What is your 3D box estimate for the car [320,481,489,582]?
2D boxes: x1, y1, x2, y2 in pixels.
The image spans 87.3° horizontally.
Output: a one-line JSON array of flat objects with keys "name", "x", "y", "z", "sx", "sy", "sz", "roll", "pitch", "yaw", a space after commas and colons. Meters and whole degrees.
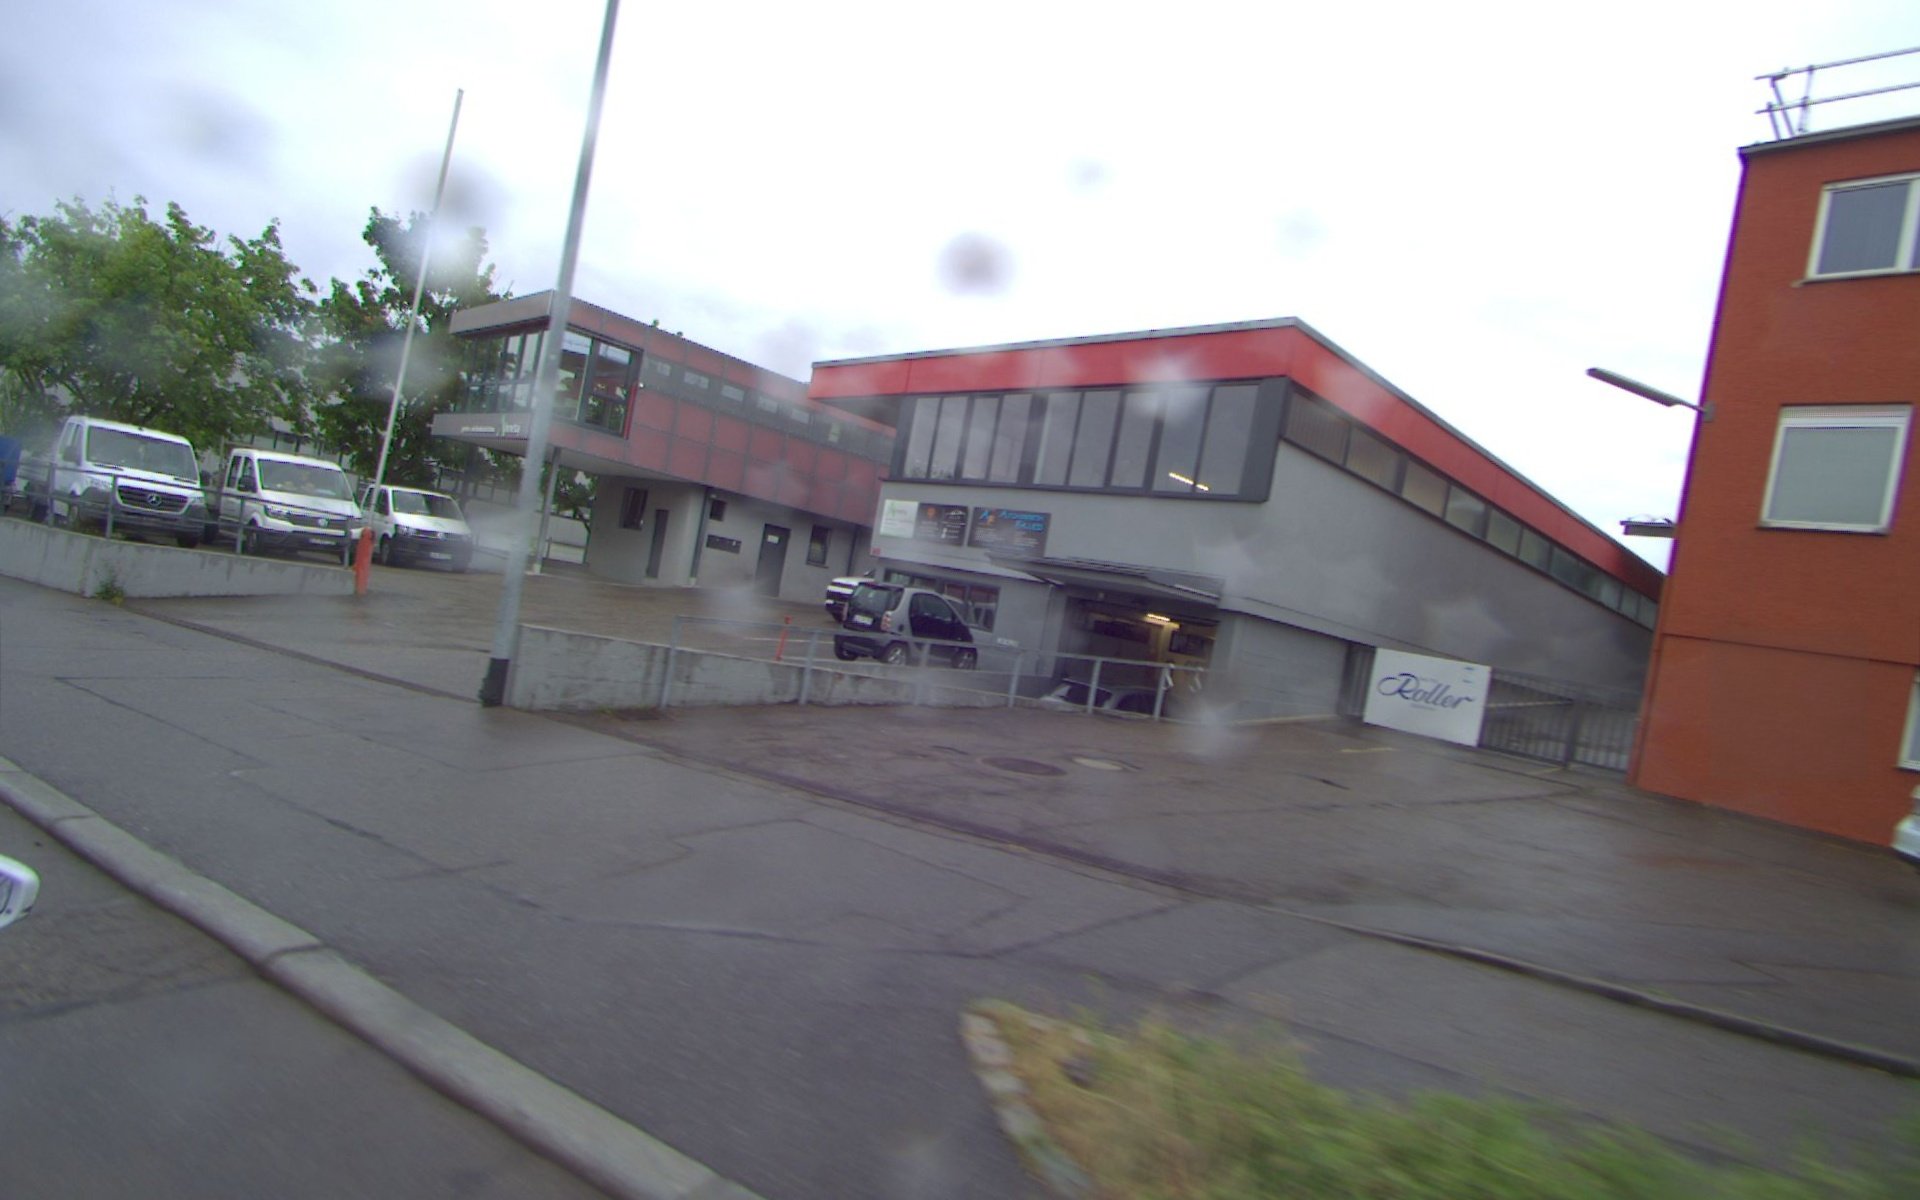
[{"name": "car", "x": -14.141, "y": -1.788, "z": 25.488, "sx": 4.869, "sy": 2.037, "sz": 2.055, "roll": 7, "pitch": -1, "yaw": 41}]

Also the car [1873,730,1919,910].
[{"name": "car", "x": 10.388, "y": 2.167, "z": 8.000, "sx": 4.260, "sy": 1.488, "sz": 1.905, "roll": 7, "pitch": 0, "yaw": 35}]

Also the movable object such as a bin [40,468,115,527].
[{"name": "movable object such as a bin", "x": -20.952, "y": -2.435, "z": 23.890, "sx": 1.013, "sy": 1.176, "sz": 1.137, "roll": 7, "pitch": -1, "yaw": 42}]

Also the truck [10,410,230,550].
[{"name": "truck", "x": -17.385, "y": -2.474, "z": 20.714, "sx": 5.567, "sy": 2.240, "sz": 2.106, "roll": 7, "pitch": -1, "yaw": 37}]

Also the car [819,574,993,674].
[{"name": "car", "x": -0.972, "y": 0.469, "z": 18.739, "sx": 1.656, "sy": 1.464, "sz": 2.706, "roll": 7, "pitch": -1, "yaw": 45}]

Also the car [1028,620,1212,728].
[{"name": "car", "x": 2.812, "y": 1.287, "z": 17.376, "sx": 1.607, "sy": 1.514, "sz": 3.029, "roll": 8, "pitch": 1, "yaw": 42}]

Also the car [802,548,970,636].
[{"name": "car", "x": -1.875, "y": -0.185, "z": 26.105, "sx": 3.911, "sy": 1.761, "sz": 1.835, "roll": 6, "pitch": 3, "yaw": -44}]

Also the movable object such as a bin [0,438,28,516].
[{"name": "movable object such as a bin", "x": -20.415, "y": -2.655, "z": 20.605, "sx": 1.826, "sy": 1.518, "sz": 1.310, "roll": 7, "pitch": -1, "yaw": 28}]

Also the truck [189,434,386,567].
[{"name": "truck", "x": -15.200, "y": -2.251, "z": 22.643, "sx": 4.767, "sy": 2.368, "sz": 2.242, "roll": 7, "pitch": -2, "yaw": 40}]
